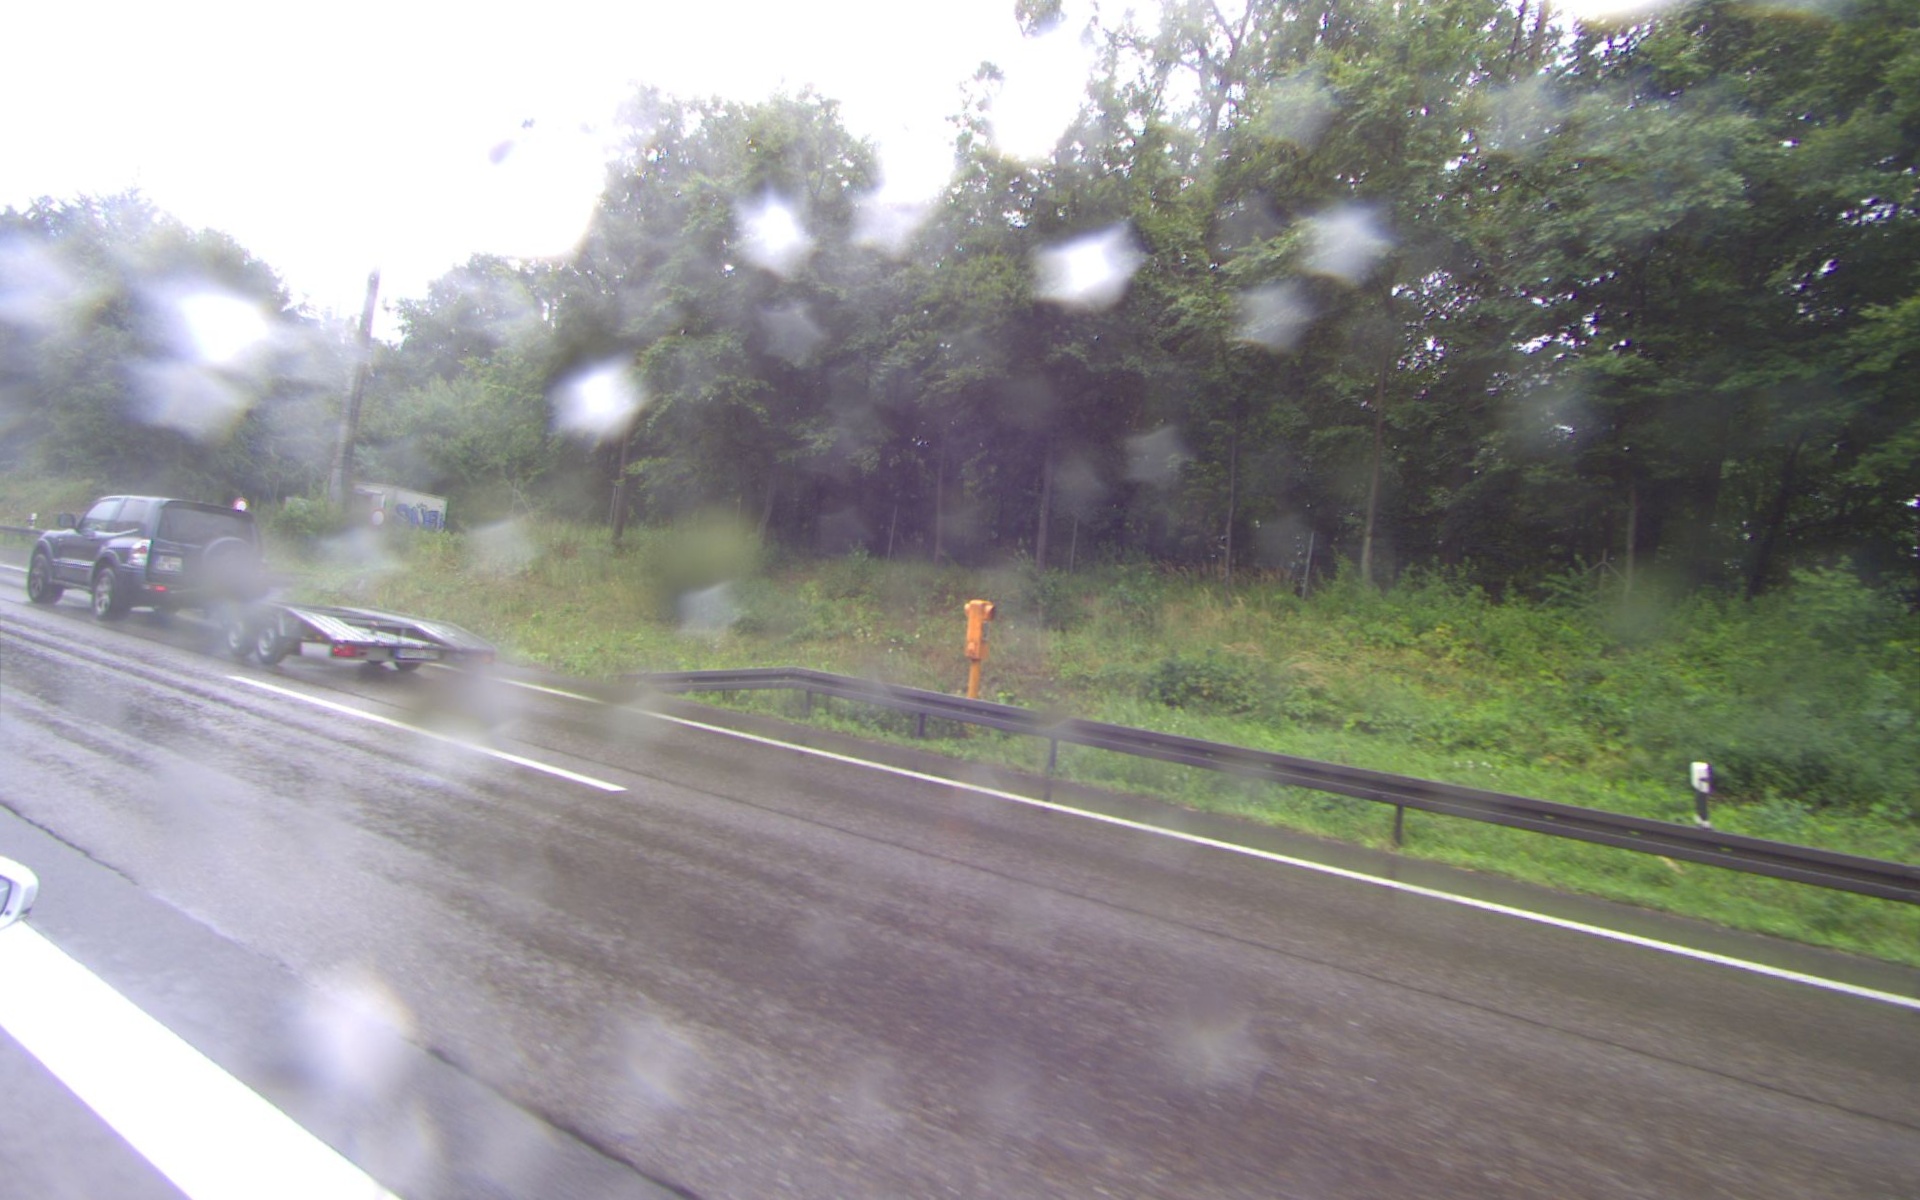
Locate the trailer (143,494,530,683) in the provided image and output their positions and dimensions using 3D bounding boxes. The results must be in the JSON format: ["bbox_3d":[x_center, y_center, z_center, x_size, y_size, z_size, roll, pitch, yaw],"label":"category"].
[{"bbox_3d":[-8.106,-0.195,12.934,5.001,1.734,2.246,7,-2,34],"label":"trailer"}]
